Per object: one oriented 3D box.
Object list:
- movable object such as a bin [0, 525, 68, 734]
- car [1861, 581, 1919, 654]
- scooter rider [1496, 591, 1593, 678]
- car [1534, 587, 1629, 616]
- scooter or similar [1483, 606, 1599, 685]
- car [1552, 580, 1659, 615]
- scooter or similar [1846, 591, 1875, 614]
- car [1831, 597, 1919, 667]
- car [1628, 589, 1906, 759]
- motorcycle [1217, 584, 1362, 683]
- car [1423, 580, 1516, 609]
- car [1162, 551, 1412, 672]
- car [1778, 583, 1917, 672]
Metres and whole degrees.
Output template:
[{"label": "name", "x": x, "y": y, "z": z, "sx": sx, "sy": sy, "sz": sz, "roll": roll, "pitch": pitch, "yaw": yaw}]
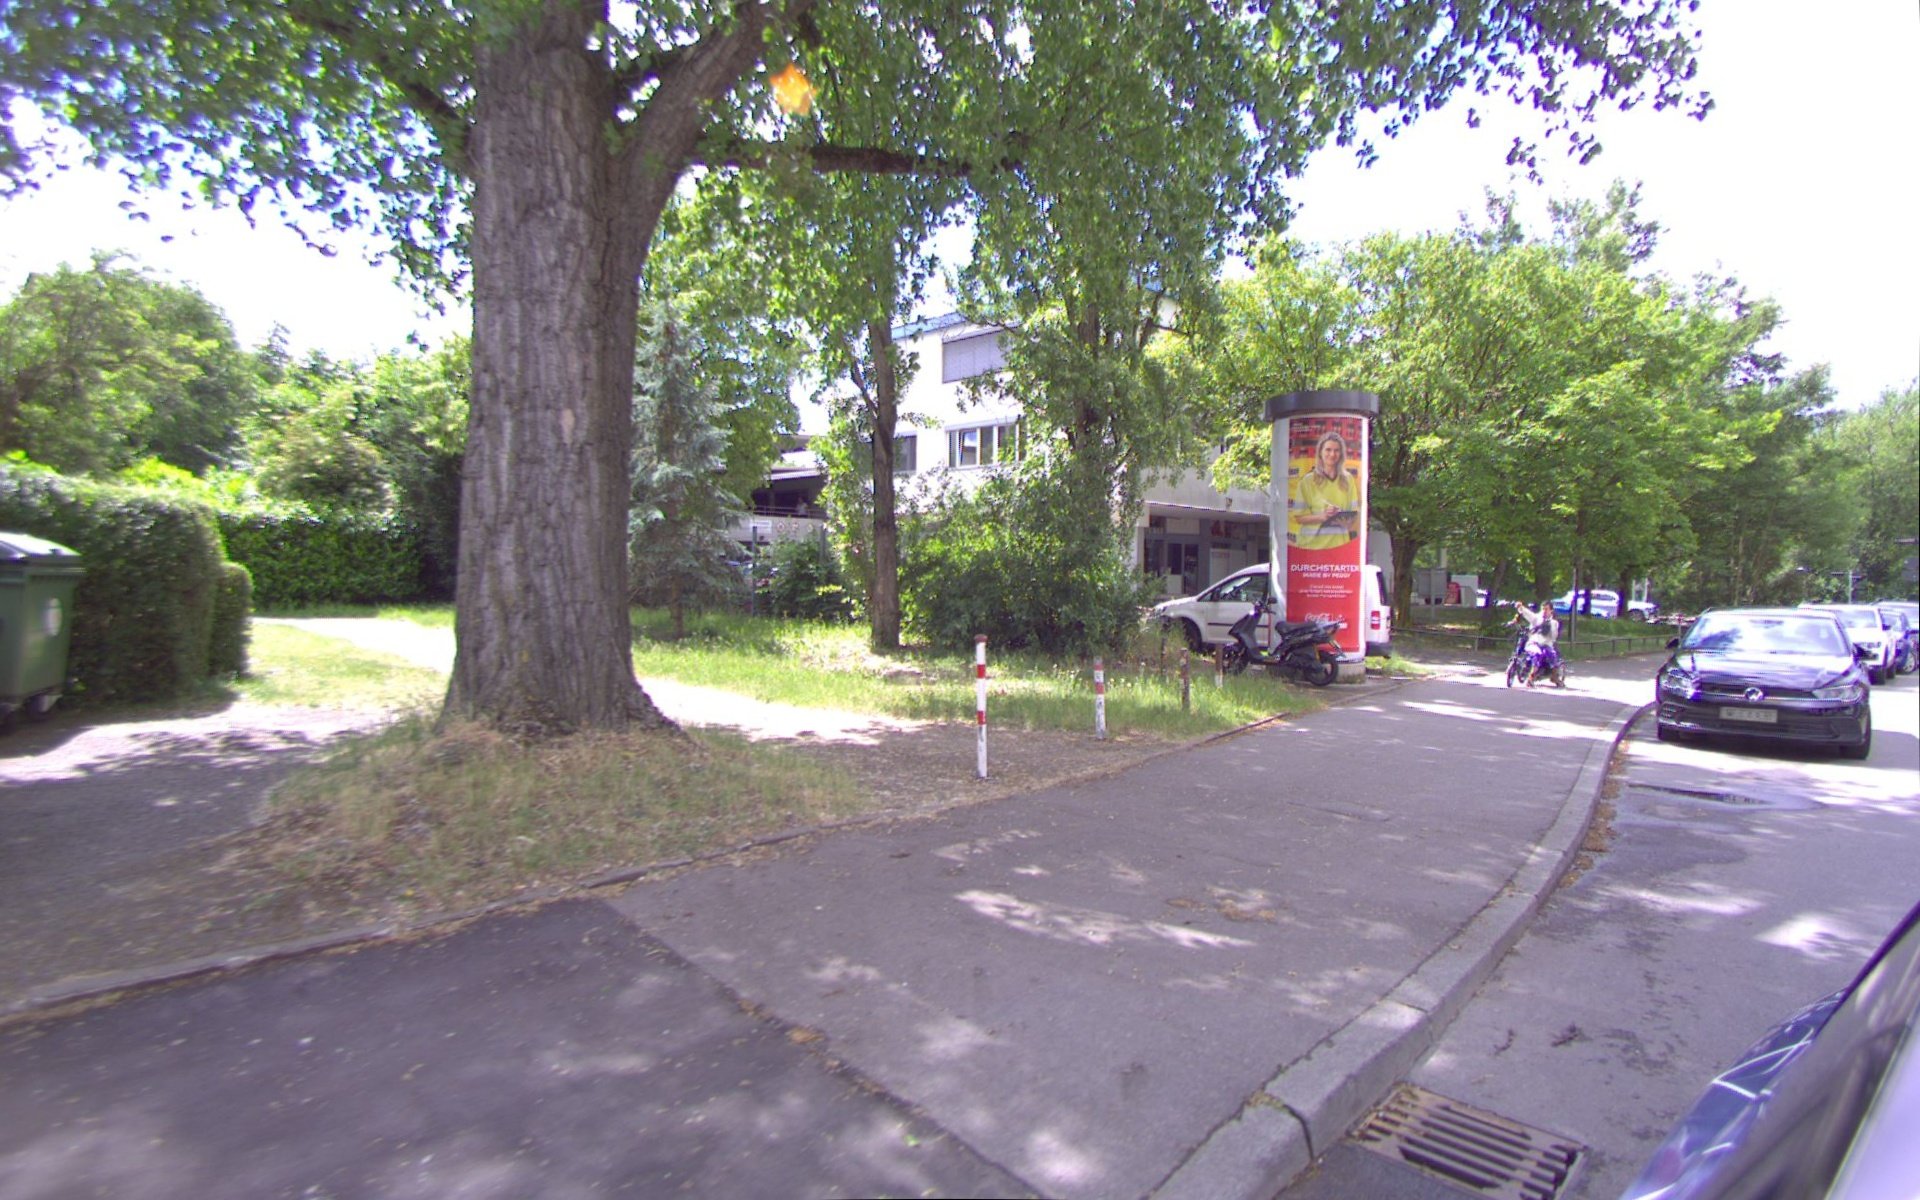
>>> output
[{"label": "movable object such as a bin", "x": -7.194, "y": 0.175, "z": 7.343, "sx": 1.039, "sy": 1.456, "sz": 1.171, "roll": 1, "pitch": 2, "yaw": -41}, {"label": "car", "x": 25.397, "y": 0.463, "z": 26.870, "sx": 4.490, "sy": 1.784, "sz": 1.647, "roll": 1, "pitch": 2, "yaw": -42}, {"label": "scooter rider", "x": 8.979, "y": 0.516, "z": 15.537, "sx": 1.260, "sy": 1.235, "sz": 0.887, "roll": 2, "pitch": 1, "yaw": -42}, {"label": "car", "x": 33.219, "y": 0.042, "z": 54.125, "sx": 1.882, "sy": 1.239, "sz": 3.963, "roll": -3, "pitch": 5, "yaw": -44}, {"label": "scooter or similar", "x": 8.912, "y": 0.676, "z": 15.479, "sx": 2.077, "sy": 1.077, "sz": 0.891, "roll": 2, "pitch": 2, "yaw": -42}, {"label": "car", "x": 35.622, "y": -0.180, "z": 55.927, "sx": 1.892, "sy": 1.610, "sz": 4.646, "roll": -3, "pitch": 5, "yaw": -44}, {"label": "scooter or similar", "x": 51.882, "y": 0.154, "z": 58.317, "sx": 1.181, "sy": 1.250, "sz": 0.473, "roll": 4, "pitch": 2, "yaw": 41}, {"label": "car", "x": 22.045, "y": 0.718, "z": 23.988, "sx": 4.007, "sy": 1.476, "sz": 1.646, "roll": 1, "pitch": 2, "yaw": -43}, {"label": "car", "x": 8.947, "y": 0.679, "z": 11.117, "sx": 3.761, "sy": 1.466, "sz": 1.818, "roll": 1, "pitch": 2, "yaw": -43}, {"label": "motorcycle", "x": 4.588, "y": 0.434, "z": 14.114, "sx": 1.785, "sy": 1.225, "sz": 0.705, "roll": 3, "pitch": 2, "yaw": 29}, {"label": "car", "x": 29.254, "y": -0.341, "z": 58.157, "sx": 4.391, "sy": 1.431, "sz": 1.921, "roll": 4, "pitch": 5, "yaw": 44}, {"label": "car", "x": 5.827, "y": 0.139, "z": 18.100, "sx": 3.964, "sy": 1.845, "sz": 1.793, "roll": 3, "pitch": 2, "yaw": 28}, {"label": "car", "x": 18.470, "y": 0.512, "z": 20.989, "sx": 4.494, "sy": 1.584, "sz": 1.785, "roll": 1, "pitch": 2, "yaw": -44}]
